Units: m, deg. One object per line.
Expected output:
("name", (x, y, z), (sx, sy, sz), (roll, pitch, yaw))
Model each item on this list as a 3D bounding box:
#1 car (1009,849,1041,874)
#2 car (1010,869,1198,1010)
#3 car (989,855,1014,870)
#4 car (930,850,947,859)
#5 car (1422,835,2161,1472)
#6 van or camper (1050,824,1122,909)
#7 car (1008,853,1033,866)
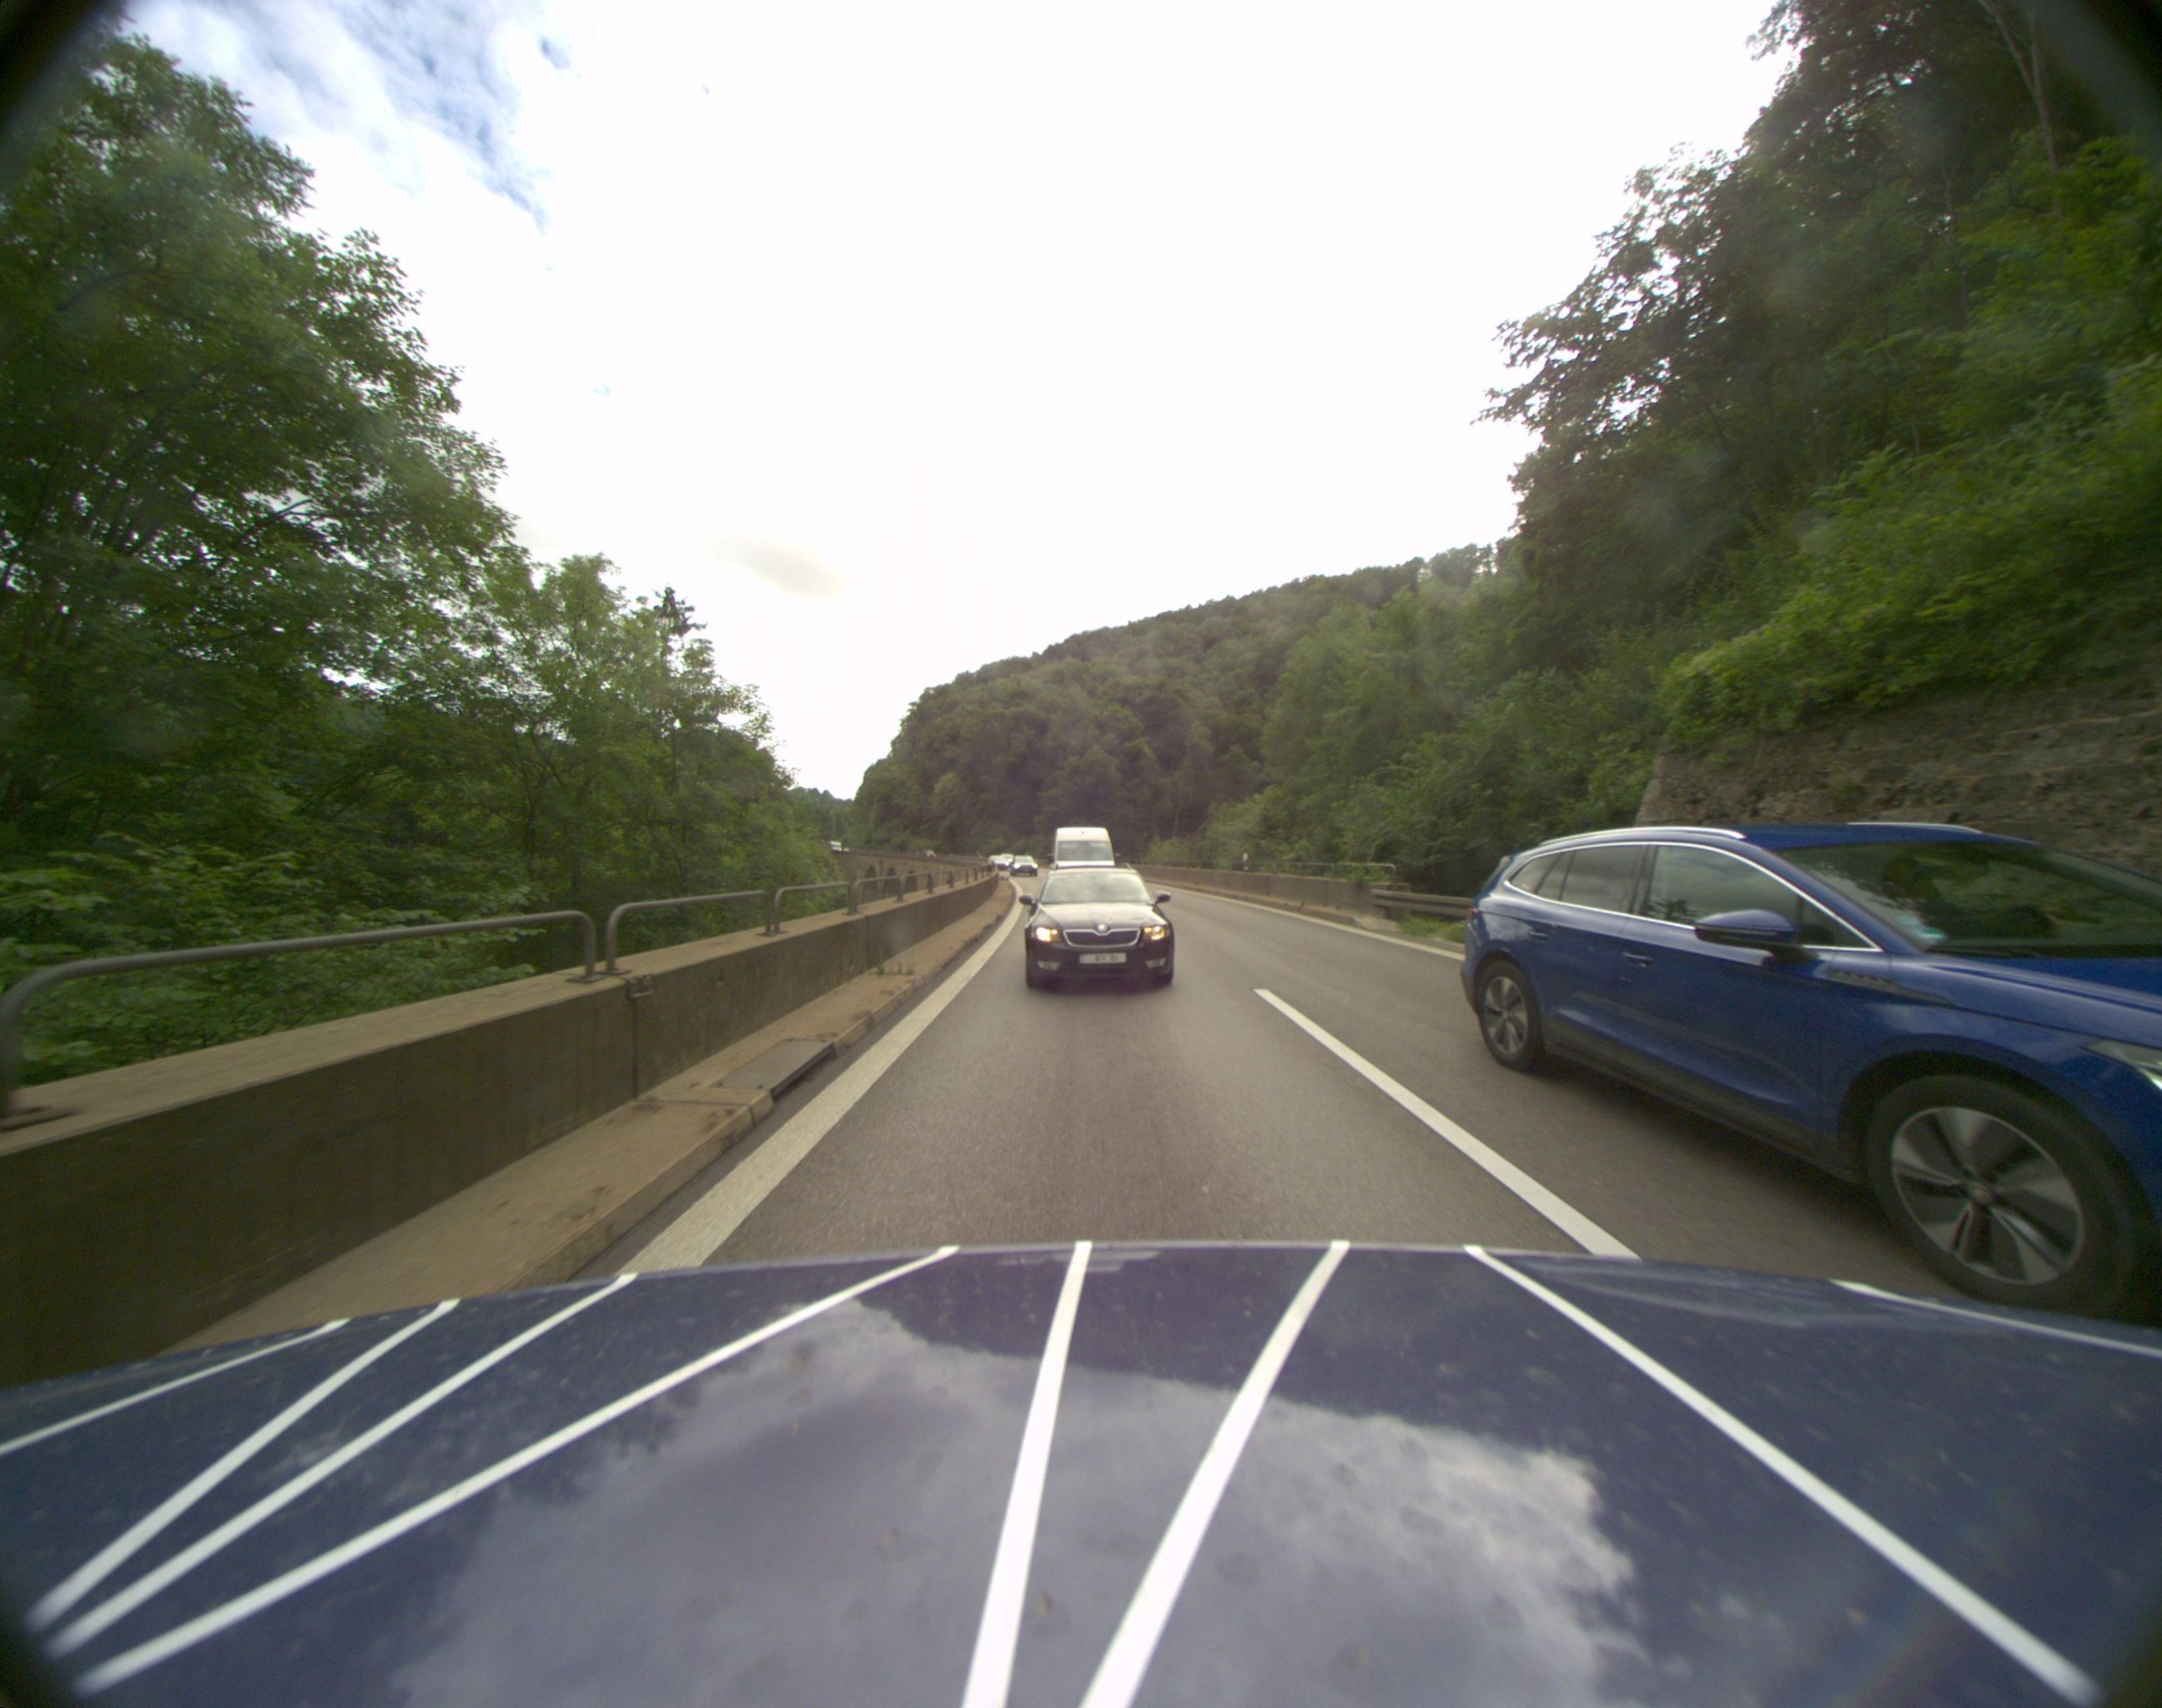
("car", (-4.167, 0.519, 56.002), (1.965, 1.696, 3.996), (-1, 1, -9))
("car", (0.281, 0.975, 10.680), (1.998, 1.389, 5.008), (-1, 0, 1))
("car", (-7.549, 0.765, 71.912), (1.889, 1.312, 3.995), (-1, 1, -11))
("car", (-23.139, 0.066, 123.251), (1.891, 1.312, 3.991), (-2, 1, -25))
("car", (3.805, 0.758, 3.766), (1.998, 1.622, 5.008), (-2, 0, 1))
("van or camper", (0.037, 0.363, 26.157), (2.082, 2.575, 5.909), (-1, 0, -3))
("car", (-6.765, 0.550, 84.199), (1.890, 1.312, 3.993), (-2, 1, -17))
